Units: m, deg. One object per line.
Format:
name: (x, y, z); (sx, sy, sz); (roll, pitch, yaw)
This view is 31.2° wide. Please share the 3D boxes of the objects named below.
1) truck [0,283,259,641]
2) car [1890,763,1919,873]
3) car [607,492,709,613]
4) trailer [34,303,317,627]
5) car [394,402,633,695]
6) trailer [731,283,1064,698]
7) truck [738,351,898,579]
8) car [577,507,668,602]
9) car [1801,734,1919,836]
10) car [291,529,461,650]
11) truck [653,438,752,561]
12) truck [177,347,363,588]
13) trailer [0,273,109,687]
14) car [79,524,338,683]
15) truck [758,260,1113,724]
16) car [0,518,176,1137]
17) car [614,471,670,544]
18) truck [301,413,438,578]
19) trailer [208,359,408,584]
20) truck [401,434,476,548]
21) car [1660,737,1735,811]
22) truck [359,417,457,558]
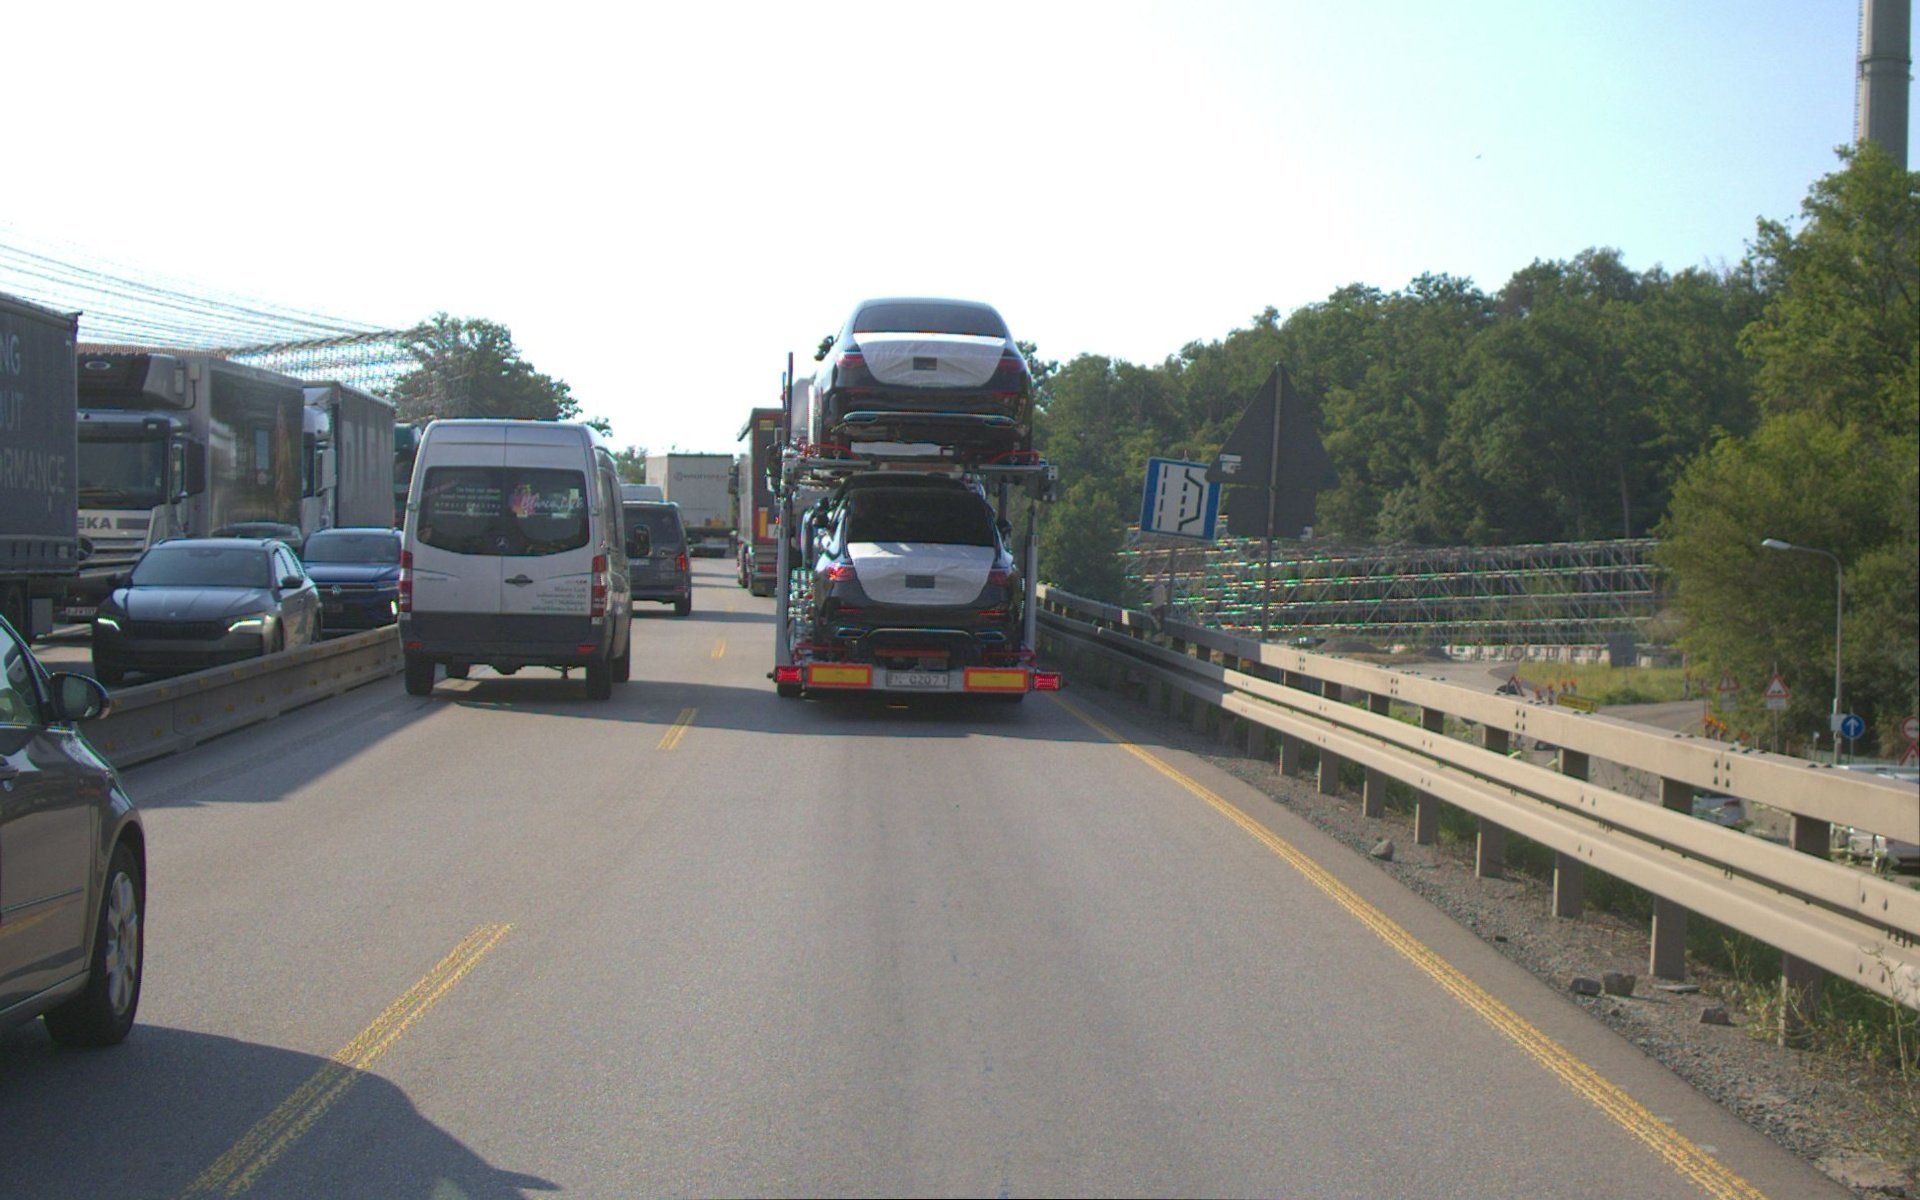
truck: (-11.336, -1.796, 46.353); (2.919, 4.499, 5.028); (1, 1, -3)
car: (18.436, 4.008, 62.816); (1.996, 1.910, 4.862); (1, -1, 6)
car: (-5.329, -0.829, 61.033); (1.528, 2.007, 4.000); (3, 0, -2)
trailer: (-11.643, -1.938, 51.650); (2.911, 4.450, 7.153); (2, 1, -4)
car: (-4.313, -0.493, 33.754); (1.979, 2.675, 4.147); (1, 1, -3)
trailer: (-1.108, -1.139, 40.958); (2.874, 3.980, 15.282); (1, 1, -5)
truck: (-3.290, -3.022, 77.435); (3.228, 4.660, 11.698); (1, 2, -3)
car: (-7.236, -0.961, 74.085); (1.832, 1.957, 4.900); (1, 0, -5)
car: (19.293, 3.905, 73.055); (1.862, 1.979, 5.051); (1, -1, 4)
car: (-8.135, -0.141, 48.217); (1.766, 1.545, 4.480); (2, 0, -3)
truck: (-10.275, -4.081, 138.270); (3.648, 4.660, 11.698); (1, 2, -3)
truck: (-12.220, -2.316, 61.263); (2.748, 4.101, 5.032); (0, 1, -6)
trailer: (-11.048, -1.211, 33.101); (2.775, 4.189, 13.835); (1, 1, -2)
car: (-7.657, 0.034, 35.442); (1.774, 1.452, 4.815); (2, 0, -3)
truck: (-0.374, -0.957, 32.610); (2.869, 3.966, 5.772); (1, 1, -5)
car: (-3.306, 0.569, 9.029); (1.700, 1.581, 4.147); (1, 1, -3)
car: (-9.411, -2.720, 101.946); (1.528, 2.007, 4.001); (3, 0, -5)
truck: (-14.185, -2.488, 82.991); (2.748, 3.792, 7.113); (0, 1, -6)
trailer: (-12.943, -2.484, 69.216); (2.714, 4.108, 12.495); (0, 1, -5)
truck: (-19.691, -4.060, 129.808); (2.693, 4.182, 4.399); (1, 0, -9)
car: (17.275, 4.064, 80.596); (1.526, 1.456, 4.266); (1, 1, 10)
truck: (-16.704, -3.340, 104.315); (2.700, 4.126, 5.796); (1, 1, -7)
